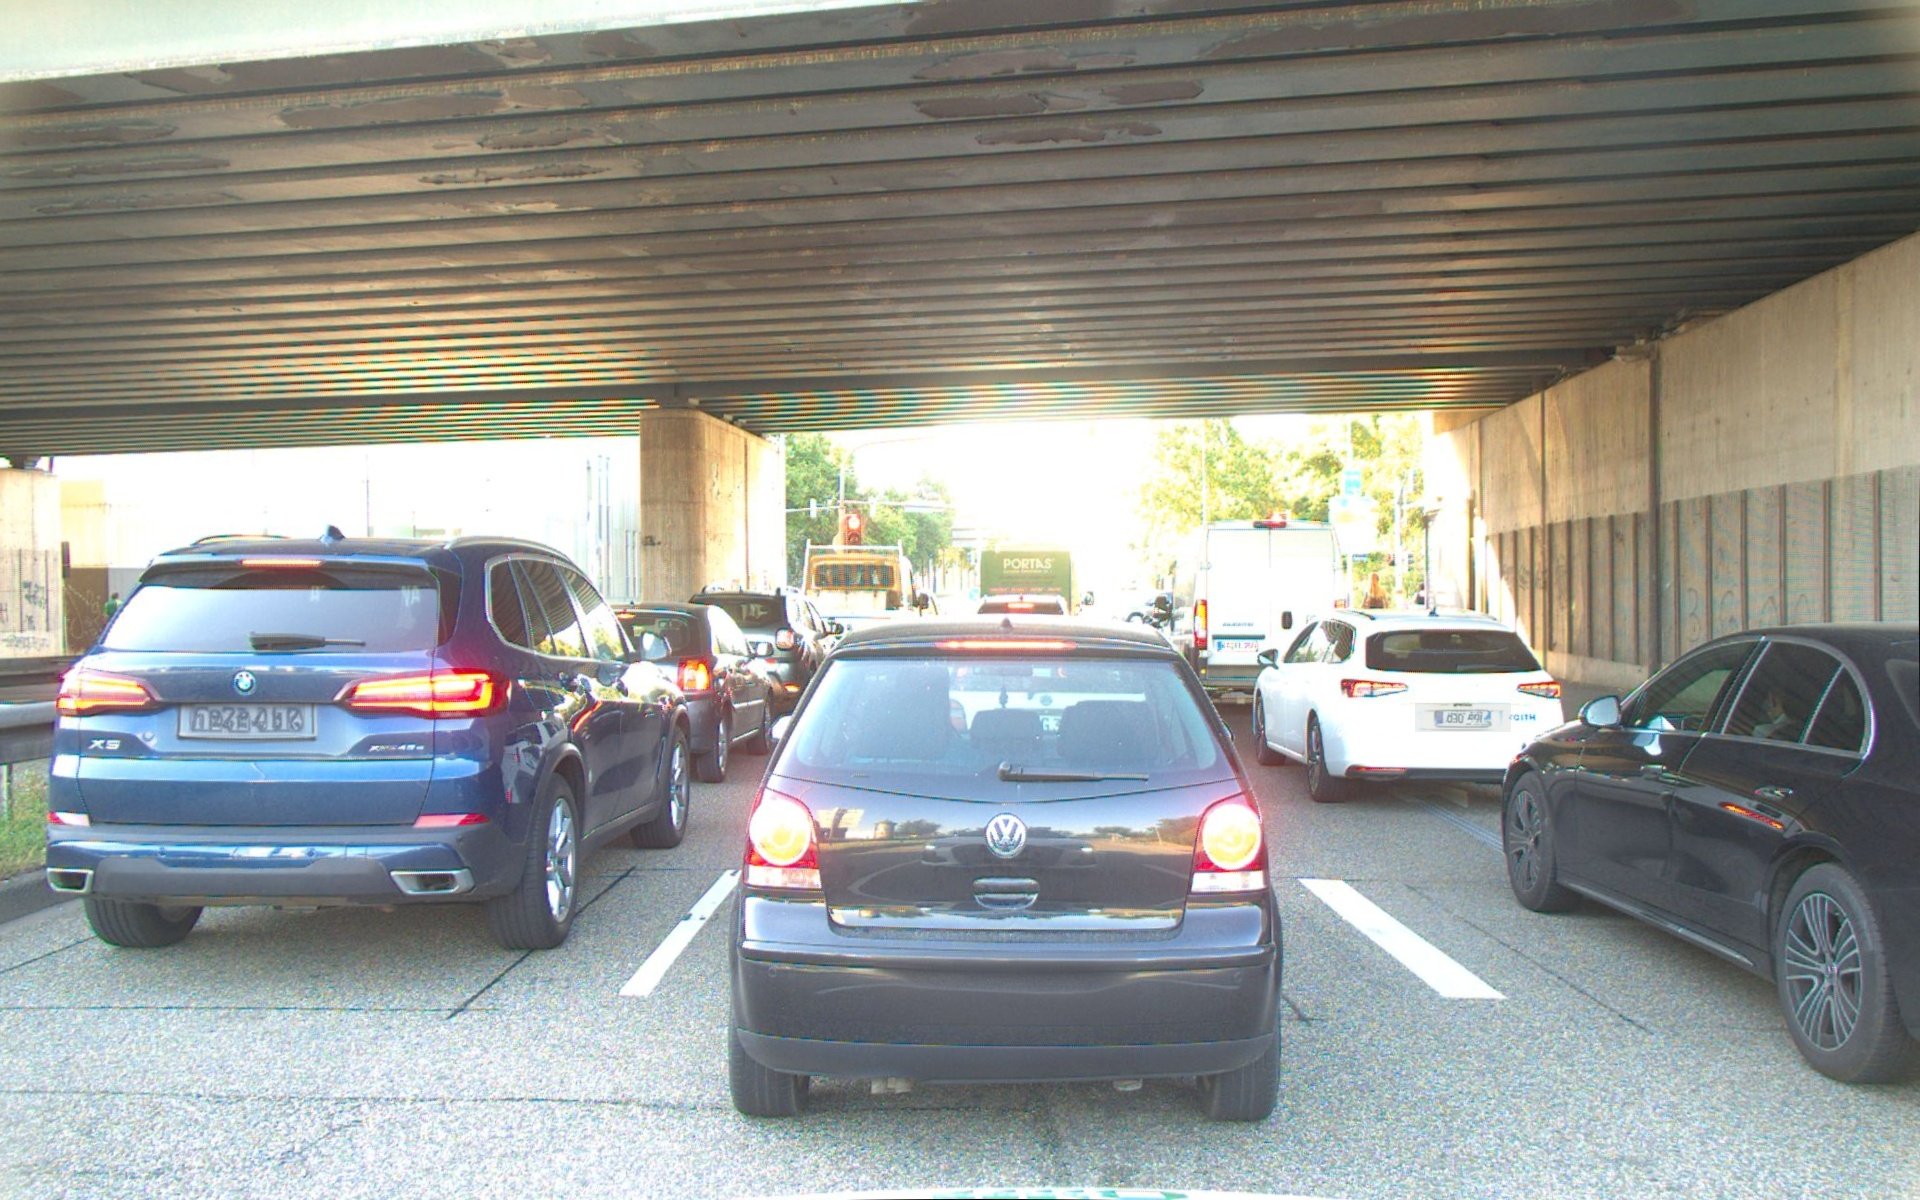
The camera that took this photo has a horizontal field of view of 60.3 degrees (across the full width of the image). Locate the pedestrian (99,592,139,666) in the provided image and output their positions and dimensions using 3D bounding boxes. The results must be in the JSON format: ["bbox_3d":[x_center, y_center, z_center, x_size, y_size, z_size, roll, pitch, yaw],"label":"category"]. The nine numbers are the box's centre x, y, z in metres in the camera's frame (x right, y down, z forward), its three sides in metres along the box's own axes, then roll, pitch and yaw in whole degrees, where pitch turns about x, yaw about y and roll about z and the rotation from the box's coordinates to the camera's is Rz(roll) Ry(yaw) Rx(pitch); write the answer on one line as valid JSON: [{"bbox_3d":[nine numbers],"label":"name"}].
[{"bbox_3d":[-22.281,0.777,43.813,0.679,1.937,0.665,0,-1,4],"label":"pedestrian"}]

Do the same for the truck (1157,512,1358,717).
[{"bbox_3d":[4.081,0.213,23.460,2.068,2.564,4.401,-2,-1,1],"label":"truck"}]

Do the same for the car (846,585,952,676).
[{"bbox_3d":[-1.328,0.694,37.489,1.951,1.934,4.002,0,-1,4],"label":"car"}]

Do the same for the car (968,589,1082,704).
[{"bbox_3d":[0.964,0.667,24.459,1.549,1.559,3.833,0,-1,2],"label":"car"}]

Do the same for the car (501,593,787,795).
[{"bbox_3d":[-2.666,0.758,14.790,1.804,1.465,3.674,-3,-1,-1],"label":"car"}]

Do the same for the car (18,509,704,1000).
[{"bbox_3d":[-2.532,0.597,8.266,1.792,1.769,4.461,-1,-1,0],"label":"car"}]

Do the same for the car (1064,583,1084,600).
[{"bbox_3d":[9.746,-0.747,141.573,1.312,1.304,2.892,-3,-1,-2],"label":"car"}]

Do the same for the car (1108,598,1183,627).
[{"bbox_3d":[7.000,0.474,62.378,2.762,1.100,1.219,0,-1,6],"label":"car"}]

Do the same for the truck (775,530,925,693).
[{"bbox_3d":[-1.827,0.222,29.291,1.985,2.601,5.539,0,-1,3],"label":"truck"}]

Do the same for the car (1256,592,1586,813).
[{"bbox_3d":[3.620,0.760,13.686,1.735,1.521,3.832,-2,-1,2],"label":"car"}]

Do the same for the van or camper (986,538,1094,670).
[{"bbox_3d":[1.816,0.128,35.854,1.951,2.616,5.921,0,-1,6],"label":"van or camper"}]

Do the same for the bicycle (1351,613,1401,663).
[{"bbox_3d":[8.597,0.783,34.266,0.566,0.980,2.888,0,-1,6],"label":"bicycle"}]

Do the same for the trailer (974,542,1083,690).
[{"bbox_3d":[1.314,0.298,30.500,1.825,2.508,3.833,-2,-1,4],"label":"trailer"}]

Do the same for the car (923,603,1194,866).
[{"bbox_3d":[0.604,0.776,11.225,1.515,1.448,3.418,2,0,1],"label":"car"}]

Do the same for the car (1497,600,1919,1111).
[{"bbox_3d":[3.722,0.770,6.523,1.705,1.480,4.606,0,1,0],"label":"car"}]

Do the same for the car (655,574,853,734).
[{"bbox_3d":[-2.521,0.645,21.222,1.803,1.749,4.001,-3,-1,2],"label":"car"}]

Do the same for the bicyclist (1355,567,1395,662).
[{"bbox_3d":[8.592,0.302,34.263,0.667,1.940,0.834,0,-1,6],"label":"bicyclist"}]

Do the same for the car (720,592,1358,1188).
[{"bbox_3d":[0.148,0.737,5.936,1.550,1.433,3.830,0,-1,-2],"label":"car"}]
